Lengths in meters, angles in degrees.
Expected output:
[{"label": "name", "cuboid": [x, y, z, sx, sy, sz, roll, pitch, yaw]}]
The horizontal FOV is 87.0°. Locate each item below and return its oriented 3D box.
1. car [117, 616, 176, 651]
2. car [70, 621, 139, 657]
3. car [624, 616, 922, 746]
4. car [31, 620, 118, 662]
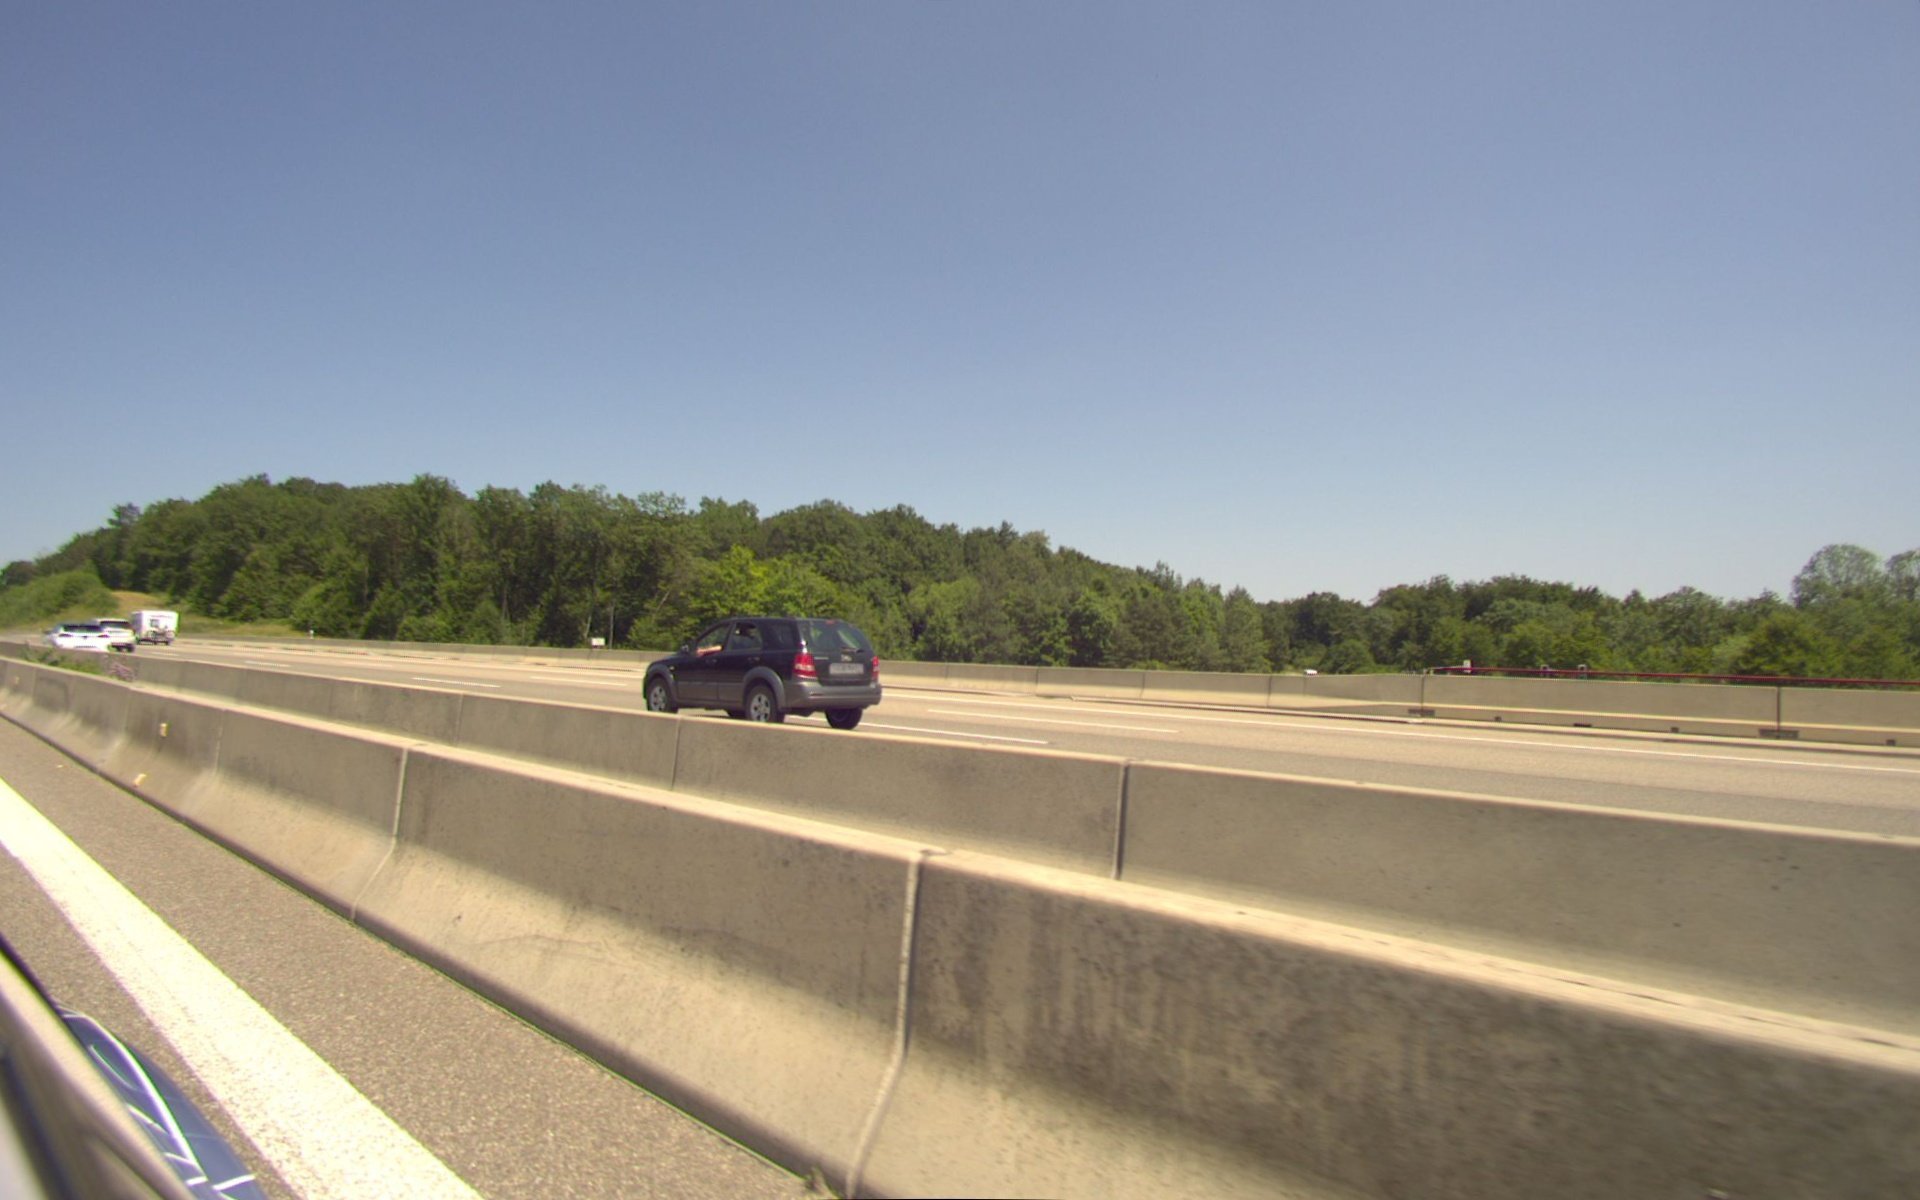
[{"label": "car", "cuboid": [-65.737, 2.711, 81.707, 8.171, 2.679, 2.198, -1, -4, 41]}, {"label": "car", "cuboid": [-45.862, 2.080, 54.216, 5.316, 1.801, 1.973, -1, -4, 41]}, {"label": "car", "cuboid": [-3.082, 1.170, 16.001, 4.922, 1.748, 1.973, -1, -4, 41]}, {"label": "car", "cuboid": [-35.308, 1.626, 40.309, 5.316, 1.535, 1.829, -1, -4, 41]}]
